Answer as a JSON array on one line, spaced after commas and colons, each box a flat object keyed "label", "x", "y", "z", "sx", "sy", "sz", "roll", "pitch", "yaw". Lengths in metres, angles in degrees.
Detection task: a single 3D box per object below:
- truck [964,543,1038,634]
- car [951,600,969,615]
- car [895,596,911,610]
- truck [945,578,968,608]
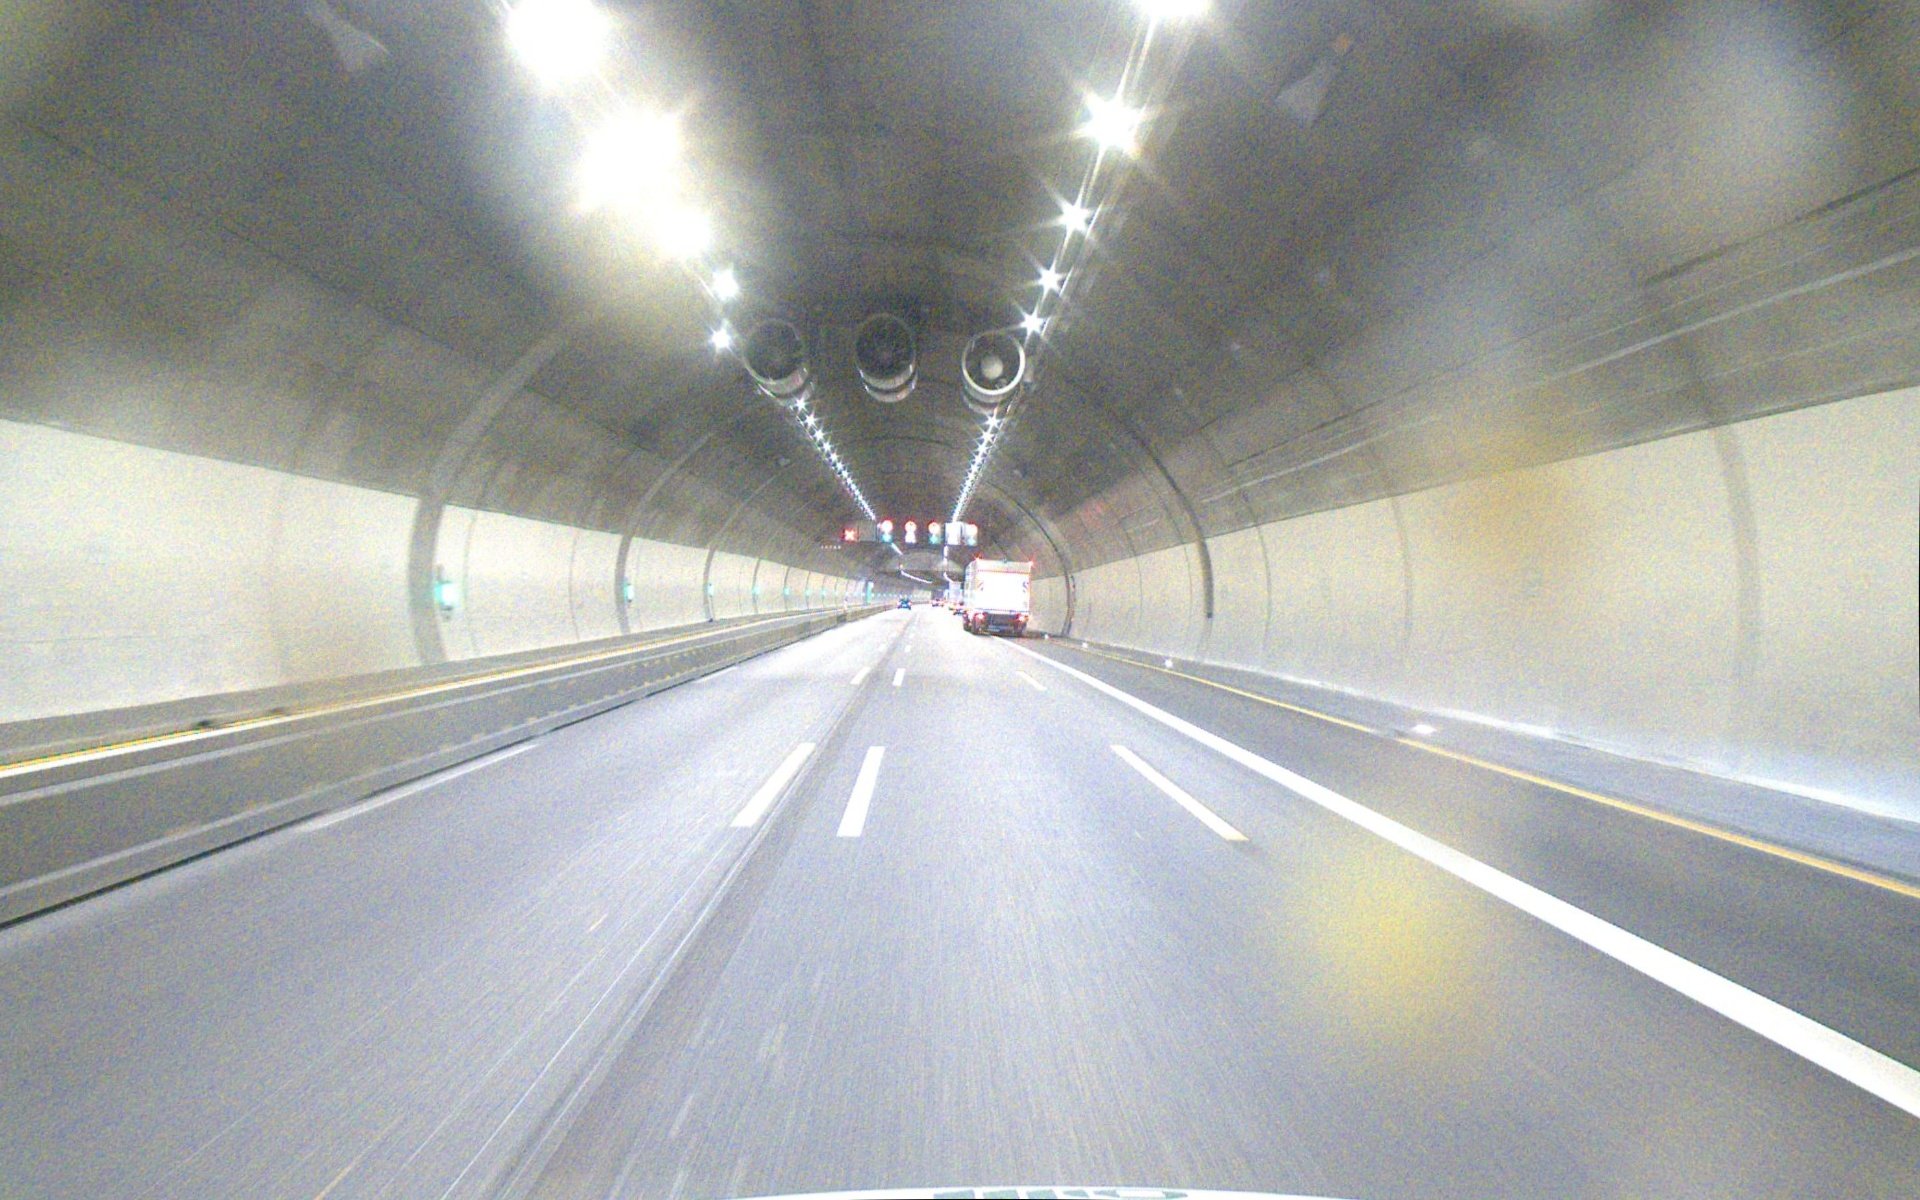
[{"label": "truck", "x": 1.863, "y": -0.470, "z": 79.467, "sx": 3.029, "sy": 3.986, "sz": 10.365, "roll": 2, "pitch": -1, "yaw": -1}, {"label": "car", "x": 0.013, "y": 0.761, "z": 168.201, "sx": 1.704, "sy": 1.486, "sz": 3.960, "roll": 2, "pitch": 1, "yaw": 0}, {"label": "car", "x": -6.732, "y": 0.345, "z": 195.782, "sx": 1.723, "sy": 1.486, "sz": 4.118, "roll": 1, "pitch": 1, "yaw": -1}, {"label": "truck", "x": -0.486, "y": -0.953, "z": 239.477, "sx": 3.003, "sy": 3.986, "sz": 10.367, "roll": 2, "pitch": -1, "yaw": 1}]
